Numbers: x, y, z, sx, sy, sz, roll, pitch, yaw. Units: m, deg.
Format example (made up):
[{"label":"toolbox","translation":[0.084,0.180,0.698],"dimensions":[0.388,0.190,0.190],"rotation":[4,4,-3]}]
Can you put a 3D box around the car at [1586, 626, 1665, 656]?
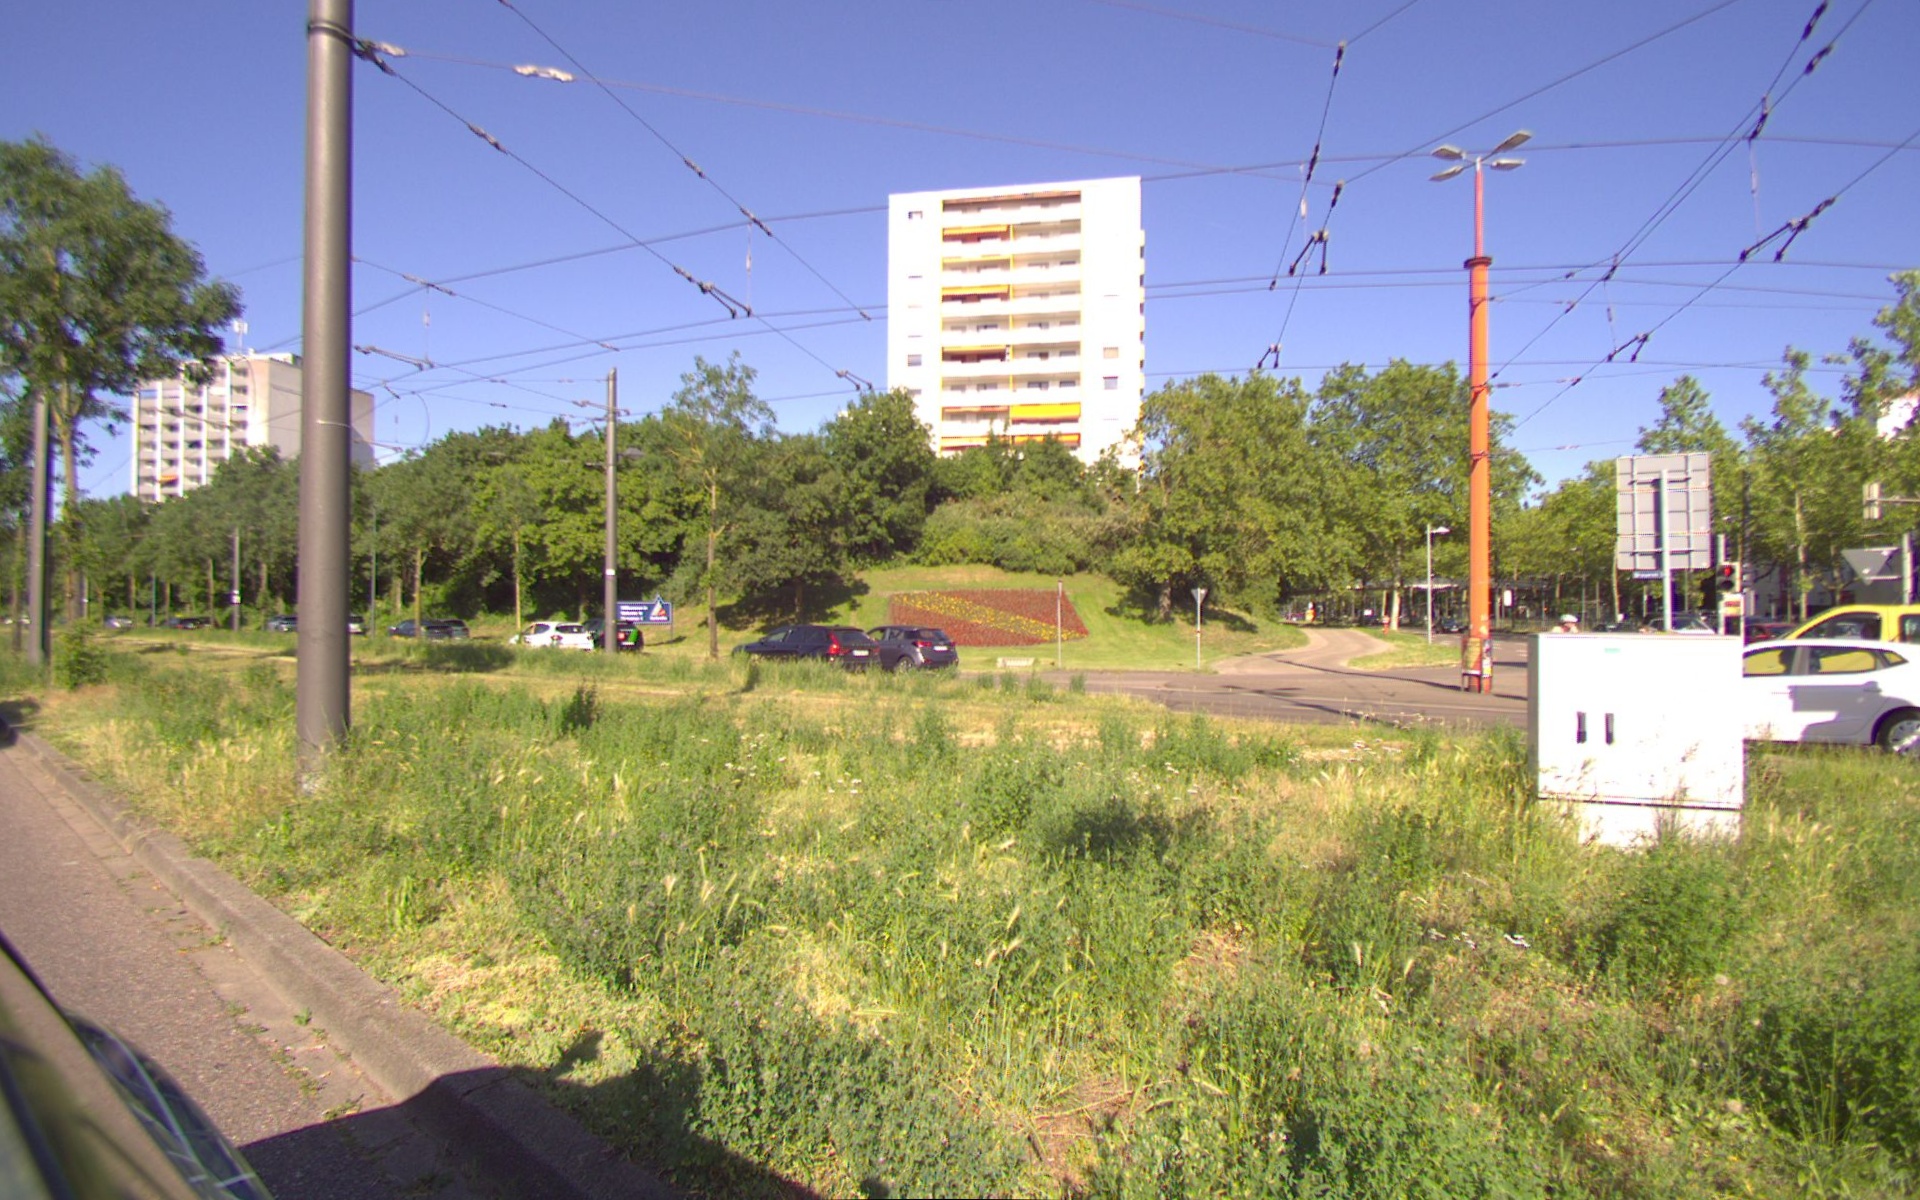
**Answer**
[{"label":"car","translation":[32.447,1.980,49.481],"dimensions":[1.747,1.360,4.346],"rotation":[-1,-1,12]}]

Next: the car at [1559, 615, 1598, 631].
[{"label":"car","translation":[79.780,2.992,130.604],"dimensions":[3.969,2.029,1.987],"rotation":[-1,-1,20]}]

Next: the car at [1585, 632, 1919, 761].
[{"label":"car","translation":[10.439,1.132,12.852],"dimensions":[4.020,1.418,1.671],"rotation":[-1,-2,42]}]

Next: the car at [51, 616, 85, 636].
[{"label":"car","translation":[-82.403,2.368,93.440],"dimensions":[3.998,1.779,1.858],"rotation":[-1,-2,41]}]

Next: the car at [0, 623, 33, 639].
[{"label":"car","translation":[-102.870,3.369,110.218],"dimensions":[3.990,1.674,1.888],"rotation":[-1,-2,34]}]

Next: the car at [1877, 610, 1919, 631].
[{"label":"car","translation":[64.895,1.397,68.397],"dimensions":[1.770,1.420,4.010],"rotation":[1,-1,-36]}]

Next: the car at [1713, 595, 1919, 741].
[{"label":"car","translation":[13.840,0.935,14.350],"dimensions":[4.905,1.981,1.972],"rotation":[-1,-2,42]}]

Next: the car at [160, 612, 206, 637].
[{"label":"car","translation":[-55.784,1.750,72.617],"dimensions":[3.998,1.779,1.858],"rotation":[-1,-2,41]}]

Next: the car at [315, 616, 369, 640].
[{"label":"car","translation":[-37.826,1.688,61.927],"dimensions":[4.000,1.409,1.822],"rotation":[-1,-2,43]}]

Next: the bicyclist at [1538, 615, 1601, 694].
[{"label":"bicyclist","translation":[12.200,1.076,20.274],"dimensions":[0.719,1.557,0.770],"rotation":[0,-2,-20]}]

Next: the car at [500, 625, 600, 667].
[{"label":"car","translation":[-14.714,1.601,36.238],"dimensions":[4.000,1.429,1.842],"rotation":[-1,-2,43]}]

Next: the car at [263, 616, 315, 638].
[{"label":"car","translation":[-45.777,1.834,68.998],"dimensions":[3.998,1.497,1.972],"rotation":[-1,-2,41]}]

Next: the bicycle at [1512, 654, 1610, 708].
[{"label":"bicycle","translation":[12.109,1.620,20.439],"dimensions":[0.673,0.968,1.650],"rotation":[0,-1,-20]}]

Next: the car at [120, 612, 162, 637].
[{"label":"car","translation":[-66.750,1.988,82.467],"dimensions":[3.998,2.029,1.973],"rotation":[-1,-2,41]}]

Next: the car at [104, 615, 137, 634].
[{"label":"car","translation":[-80.623,2.325,97.164],"dimensions":[3.998,1.779,1.858],"rotation":[-1,-2,41]}]

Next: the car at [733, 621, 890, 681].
[{"label":"car","translation":[-3.918,1.269,26.296],"dimensions":[4.311,1.427,1.775],"rotation":[-1,-2,44]}]

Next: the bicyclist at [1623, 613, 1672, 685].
[{"label":"bicyclist","translation":[13.411,0.947,19.748],"dimensions":[0.435,1.391,0.631],"rotation":[0,-2,-20]}]

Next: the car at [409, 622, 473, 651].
[{"label":"car","translation":[-26.592,1.850,51.786],"dimensions":[4.001,1.386,1.717],"rotation":[-1,-2,44]}]

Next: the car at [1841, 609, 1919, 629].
[{"label":"car","translation":[65.884,1.375,72.379],"dimensions":[1.770,1.420,4.010],"rotation":[1,-1,-36]}]

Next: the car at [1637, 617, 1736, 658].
[{"label":"car","translation":[30.573,1.560,42.751],"dimensions":[1.810,1.648,4.236],"rotation":[0,-1,12]}]

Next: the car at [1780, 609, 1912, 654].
[{"label":"car","translation":[32.199,1.138,36.936],"dimensions":[1.840,1.557,4.242],"rotation":[0,-1,14]}]

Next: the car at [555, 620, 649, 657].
[{"label":"car","translation":[-14.406,1.526,40.672],"dimensions":[3.998,1.429,1.843],"rotation":[-1,-2,41]}]

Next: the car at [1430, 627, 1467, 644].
[{"label":"car","translation":[42.267,3.082,87.635],"dimensions":[1.747,1.360,4.347],"rotation":[-1,-1,11]}]

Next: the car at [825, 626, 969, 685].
[{"label":"car","translation":[-1.864,1.525,28.933],"dimensions":[1.767,1.519,4.243],"rotation":[1,-2,-45]}]

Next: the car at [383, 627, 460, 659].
[{"label":"car","translation":[-24.473,1.917,45.938],"dimensions":[4.229,1.371,1.801],"rotation":[-1,-2,43]}]

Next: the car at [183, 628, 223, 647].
[{"label":"car","translation":[-60.020,2.976,80.237],"dimensions":[3.998,1.475,1.779],"rotation":[-1,-2,41]}]

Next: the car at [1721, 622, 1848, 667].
[{"label":"car","translation":[28.270,1.494,34.876],"dimensions":[1.668,1.446,4.050],"rotation":[0,-1,11]}]
